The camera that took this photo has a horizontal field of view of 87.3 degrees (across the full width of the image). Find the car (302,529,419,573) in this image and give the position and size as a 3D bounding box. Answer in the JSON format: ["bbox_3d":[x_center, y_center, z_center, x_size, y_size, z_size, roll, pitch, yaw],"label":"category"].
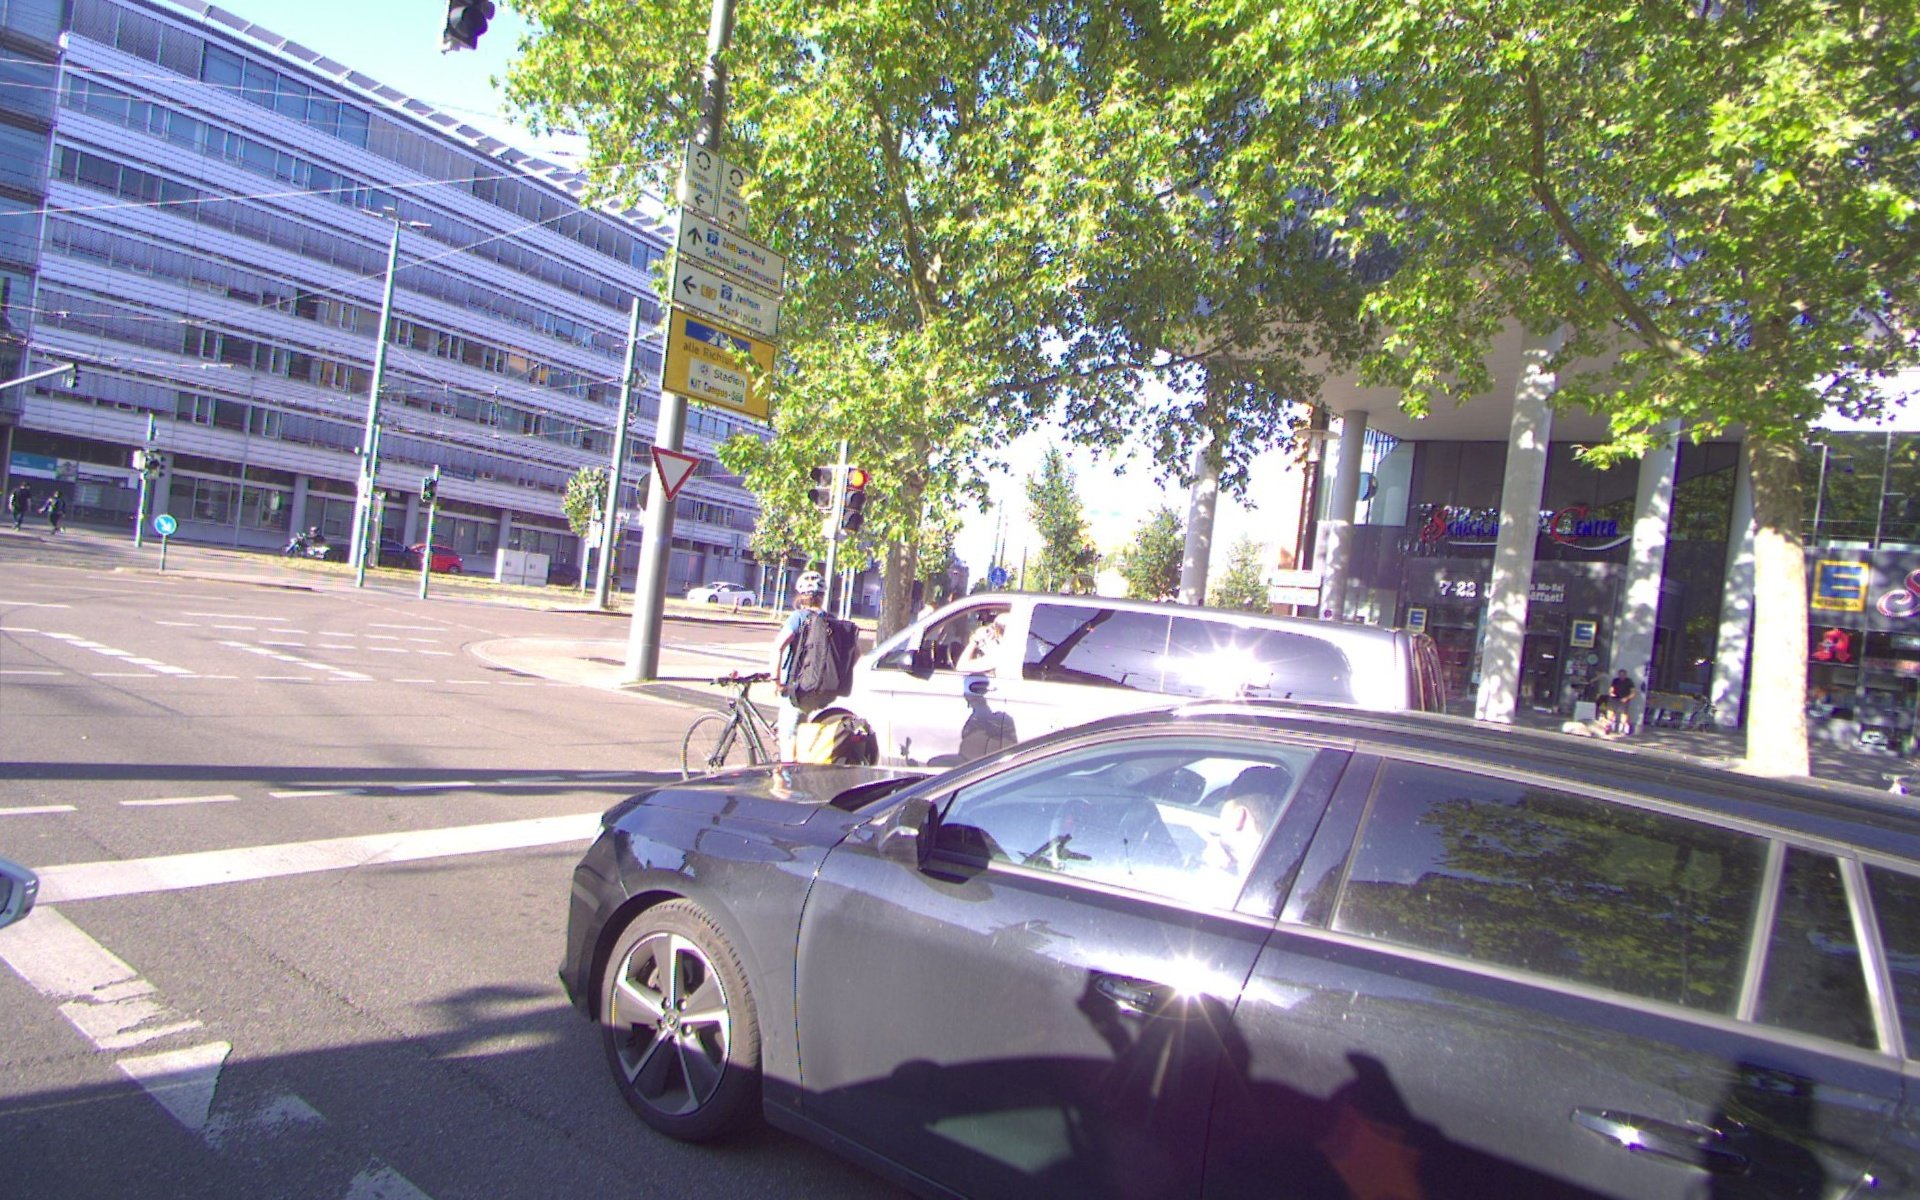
[{"bbox_3d":[-27.228,-2.226,45.790,1.758,1.415,4.157,7,0,37],"label":"car"}]

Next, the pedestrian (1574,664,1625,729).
[{"bbox_3d":[18.312,2.760,28.824,0.708,1.728,0.802,6,1,-23],"label":"pedestrian"}]

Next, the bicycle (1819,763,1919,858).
[{"bbox_3d":[11.201,2.543,12.082,0.437,0.930,1.210,6,0,-39],"label":"bicycle"}]

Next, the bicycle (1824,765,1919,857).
[{"bbox_3d":[11.499,2.606,12.354,0.460,0.938,1.210,6,0,-39],"label":"bicycle"}]

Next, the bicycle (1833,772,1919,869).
[{"bbox_3d":[10.542,2.477,11.096,1.233,0.898,0.462,7,1,32],"label":"bicycle"}]

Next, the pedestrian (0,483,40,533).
[{"bbox_3d":[-35.209,-3.444,37.632,1.020,1.706,0.912,7,1,39],"label":"pedestrian"}]

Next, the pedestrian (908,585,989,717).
[{"bbox_3d":[-0.169,0.736,14.561,0.751,1.799,0.648,7,1,28],"label":"pedestrian"}]

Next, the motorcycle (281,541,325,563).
[{"bbox_3d":[-30.245,-2.193,46.312,0.460,0.820,1.568,7,0,36],"label":"motorcycle"}]

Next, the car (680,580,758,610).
[{"bbox_3d":[-14.987,-0.290,62.857,1.758,1.353,4.605,7,0,37],"label":"car"}]

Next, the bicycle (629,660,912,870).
[{"bbox_3d":[-1.276,1.011,6.587,1.839,0.993,0.561,7,1,32],"label":"bicycle"}]

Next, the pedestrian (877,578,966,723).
[{"bbox_3d":[-0.527,0.690,13.854,0.800,1.868,0.642,7,1,30],"label":"pedestrian"}]

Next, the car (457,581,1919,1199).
[{"bbox_3d":[0.746,0.943,2.765,4.199,1.431,1.742,7,-2,32],"label":"car"}]

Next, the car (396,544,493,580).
[{"bbox_3d":[-26.444,-1.933,51.705,1.758,1.411,3.984,7,1,37],"label":"car"}]

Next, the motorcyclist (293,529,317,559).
[{"bbox_3d":[-30.161,-2.573,46.347,0.452,1.291,0.712,7,1,36],"label":"motorcyclist"}]

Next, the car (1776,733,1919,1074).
[{"bbox_3d":[6.606,1.741,4.551,4.181,1.503,1.741,7,0,31],"label":"car"}]

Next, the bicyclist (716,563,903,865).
[{"bbox_3d":[-0.947,0.684,6.352,0.766,1.714,0.632,7,1,32],"label":"bicyclist"}]

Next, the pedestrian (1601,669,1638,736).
[{"bbox_3d":[17.540,2.733,26.745,0.598,1.707,0.511,6,1,-41],"label":"pedestrian"}]

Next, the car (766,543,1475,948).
[{"bbox_3d":[1.094,0.841,7.959,5.012,2.004,1.939,7,0,31],"label":"car"}]

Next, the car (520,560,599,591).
[{"bbox_3d":[-24.941,-1.537,62.772,1.758,1.415,4.157,7,0,37],"label":"car"}]

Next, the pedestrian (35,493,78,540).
[{"bbox_3d":[-34.209,-3.163,38.089,0.883,1.583,0.947,7,1,38],"label":"pedestrian"}]

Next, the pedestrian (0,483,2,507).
[{"bbox_3d":[-35.082,-3.348,36.057,0.858,1.811,0.863,7,1,38],"label":"pedestrian"}]
